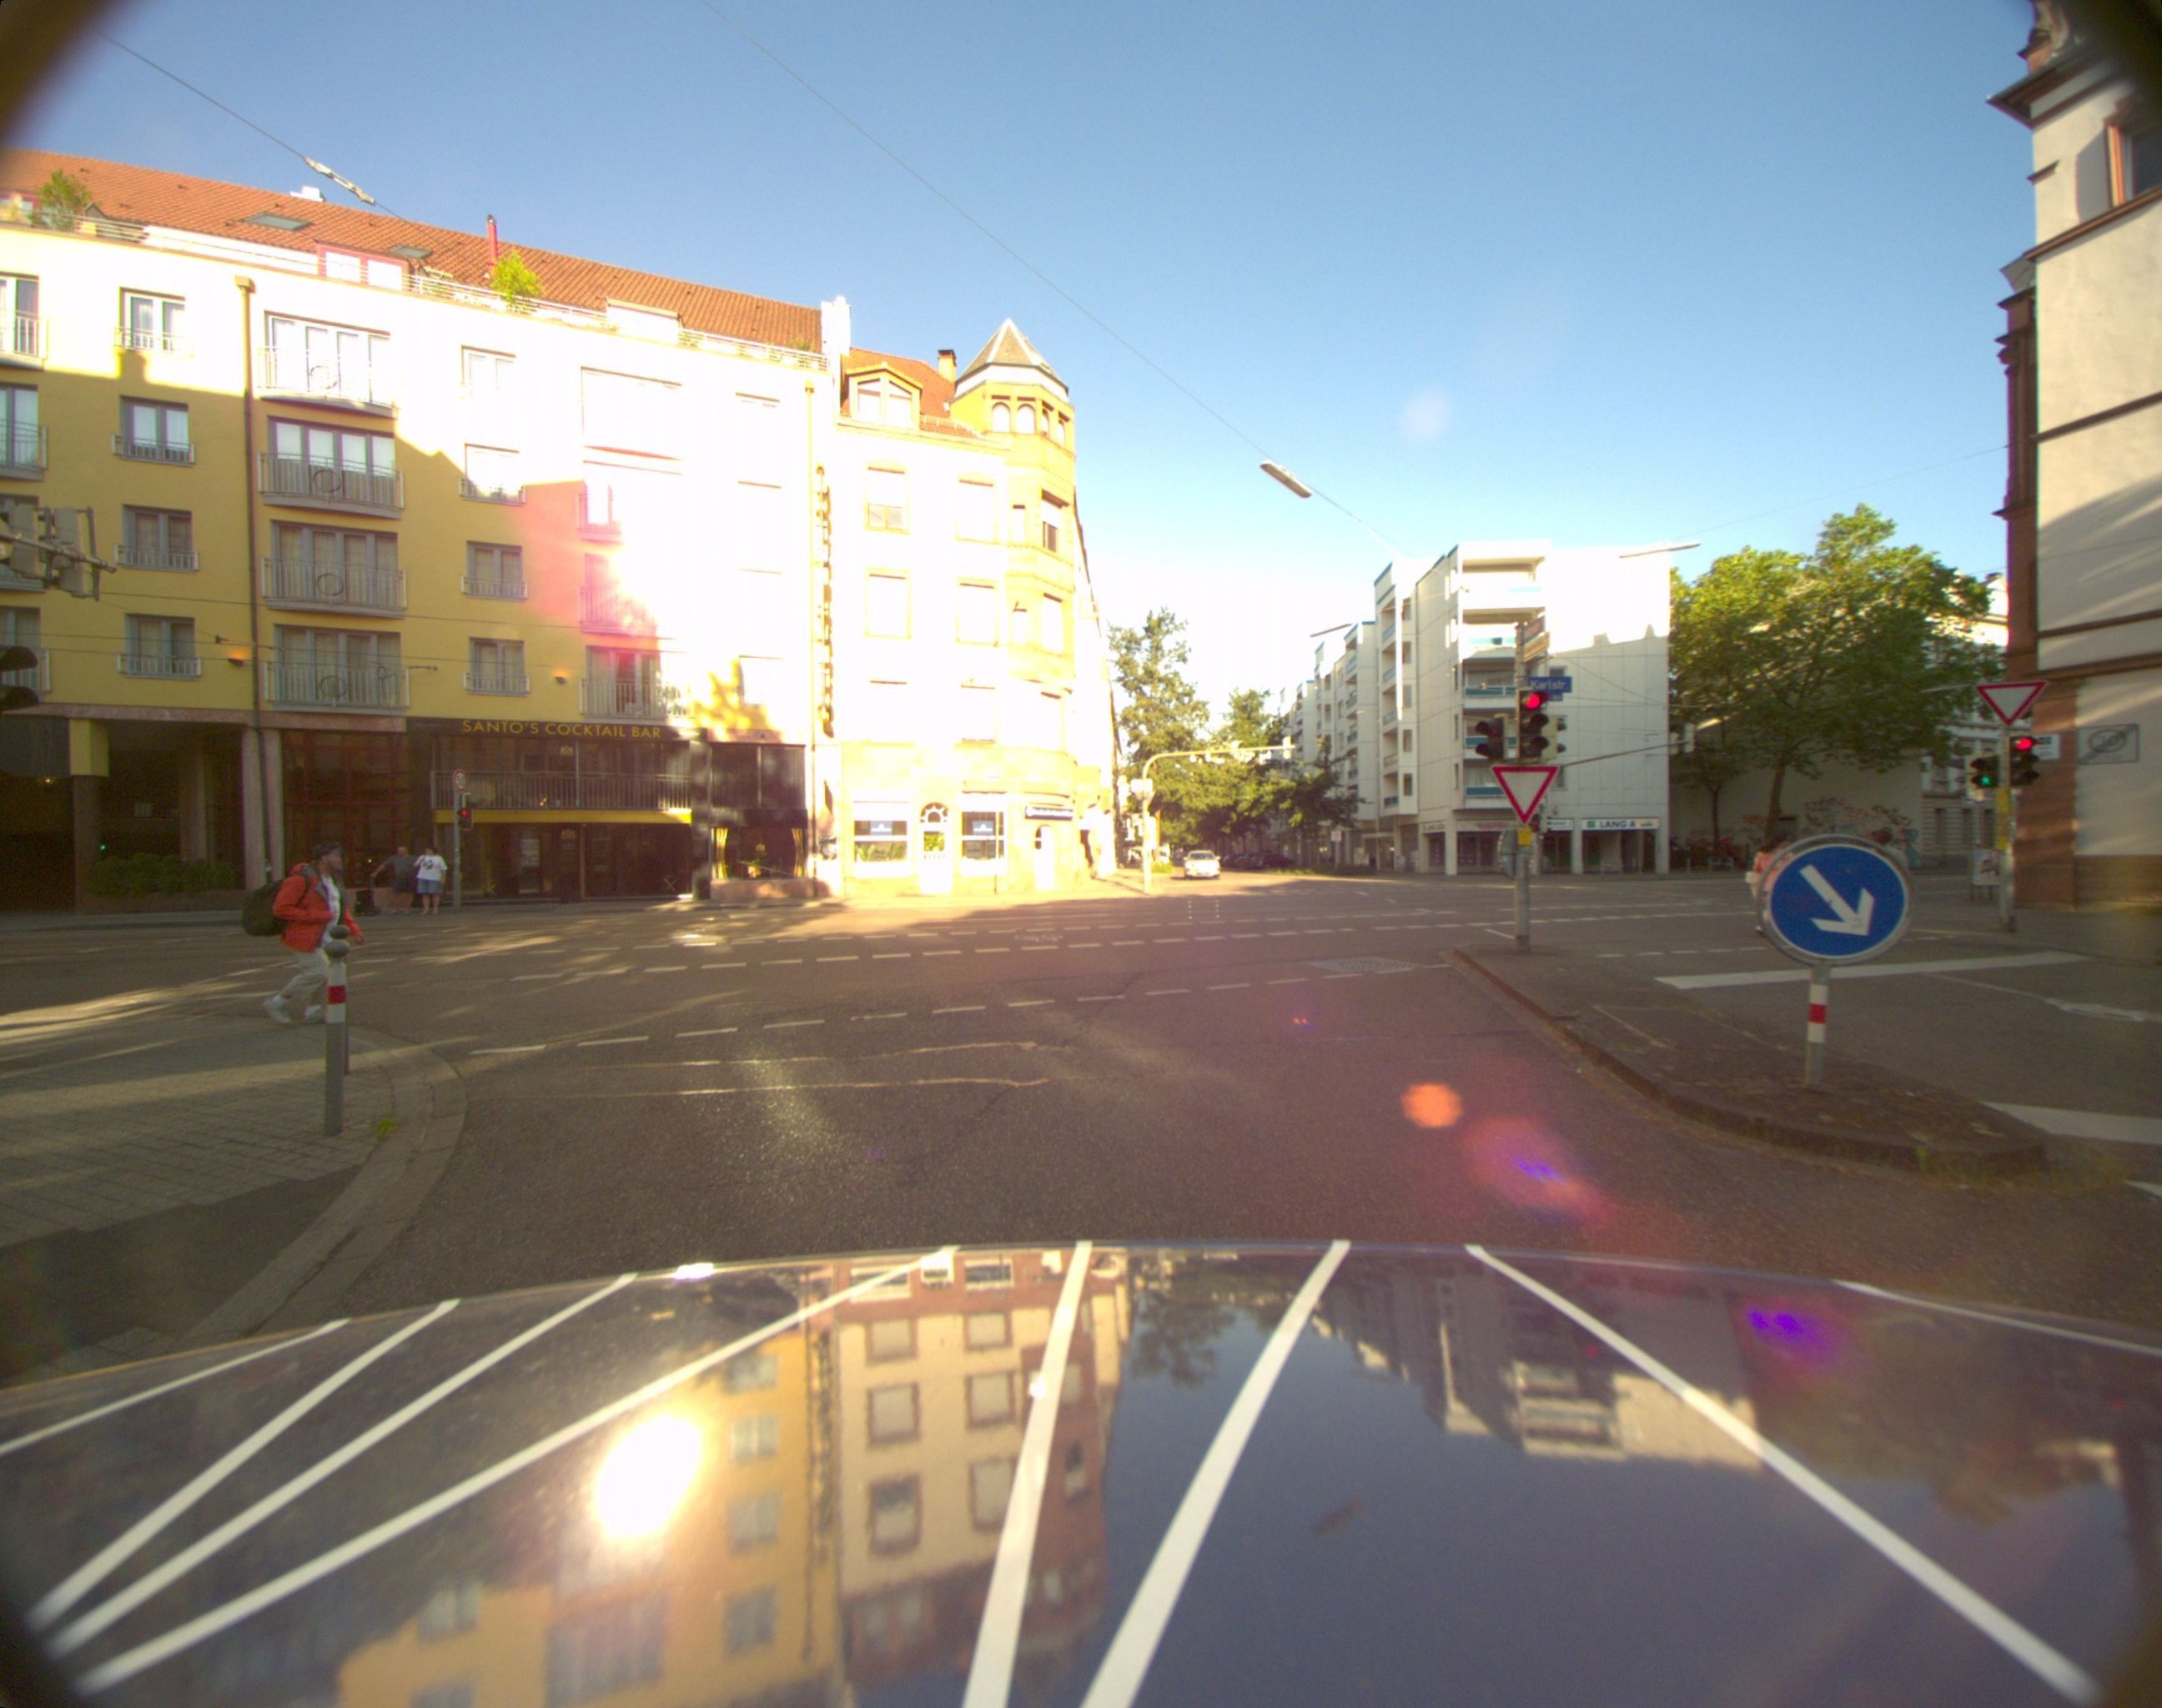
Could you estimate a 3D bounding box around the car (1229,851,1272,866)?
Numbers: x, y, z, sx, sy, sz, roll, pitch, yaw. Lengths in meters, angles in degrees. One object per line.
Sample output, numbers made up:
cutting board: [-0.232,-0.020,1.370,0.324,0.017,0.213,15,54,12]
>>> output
car: [18.513,0.502,83.052,4.302,1.576,1.999,-1,1,-2]

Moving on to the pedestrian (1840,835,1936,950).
pedestrian: [12.554,0.564,11.859,0.867,1.688,0.986,0,1,37]

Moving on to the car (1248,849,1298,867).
car: [17.510,0.347,69.530,3.998,1.576,1.999,-1,1,-3]

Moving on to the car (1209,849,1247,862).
car: [18.054,0.201,93.514,4.302,1.576,1.999,-1,1,-2]

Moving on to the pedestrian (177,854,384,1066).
pedestrian: [-7.051,0.841,6.781,1.176,1.670,1.005,-1,1,-44]

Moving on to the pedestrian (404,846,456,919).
pedestrian: [-16.923,0.726,19.781,0.736,1.831,0.725,-1,4,-18]

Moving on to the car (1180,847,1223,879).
car: [6.842,0.494,43.528,1.998,1.740,4.000,-1,0,2]

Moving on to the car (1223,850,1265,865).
car: [18.532,0.407,86.338,4.302,1.576,1.999,-1,1,-2]

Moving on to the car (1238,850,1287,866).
car: [17.797,0.383,74.561,4.303,1.576,1.999,-1,1,-3]

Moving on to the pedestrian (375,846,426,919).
pedestrian: [-17.788,0.729,19.890,0.679,1.831,0.725,-1,4,-18]

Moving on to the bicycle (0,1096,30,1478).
bicycle: [-3.409,1.188,1.703,0.999,1.021,0.738,-1,1,-5]

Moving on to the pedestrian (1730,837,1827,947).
pedestrian: [11.265,0.579,12.282,0.986,1.688,0.867,-1,1,-29]

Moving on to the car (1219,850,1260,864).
car: [18.485,0.338,88.750,4.302,1.576,1.999,-1,1,-2]

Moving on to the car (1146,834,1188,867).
car: [8.645,-0.397,77.374,3.324,3.160,8.082,0,0,-1]

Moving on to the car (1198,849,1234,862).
car: [17.918,0.193,101.067,4.302,1.576,1.999,-1,1,-2]

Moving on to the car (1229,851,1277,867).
car: [17.414,0.457,76.973,4.303,1.576,1.999,-1,1,-3]

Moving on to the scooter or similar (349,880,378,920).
scooter or similar: [-18.328,1.176,19.422,0.357,0.972,0.422,-1,4,-20]

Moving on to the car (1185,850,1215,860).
car: [18.137,0.128,116.101,4.302,1.576,1.999,-1,1,-2]

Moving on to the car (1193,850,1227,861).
car: [17.593,0.196,103.898,4.302,1.576,1.999,-1,1,-2]

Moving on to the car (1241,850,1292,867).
car: [17.566,0.429,71.979,4.303,1.576,1.999,-1,1,-3]

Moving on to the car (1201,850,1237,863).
car: [17.705,0.333,97.629,4.302,1.576,1.999,-1,1,-2]
